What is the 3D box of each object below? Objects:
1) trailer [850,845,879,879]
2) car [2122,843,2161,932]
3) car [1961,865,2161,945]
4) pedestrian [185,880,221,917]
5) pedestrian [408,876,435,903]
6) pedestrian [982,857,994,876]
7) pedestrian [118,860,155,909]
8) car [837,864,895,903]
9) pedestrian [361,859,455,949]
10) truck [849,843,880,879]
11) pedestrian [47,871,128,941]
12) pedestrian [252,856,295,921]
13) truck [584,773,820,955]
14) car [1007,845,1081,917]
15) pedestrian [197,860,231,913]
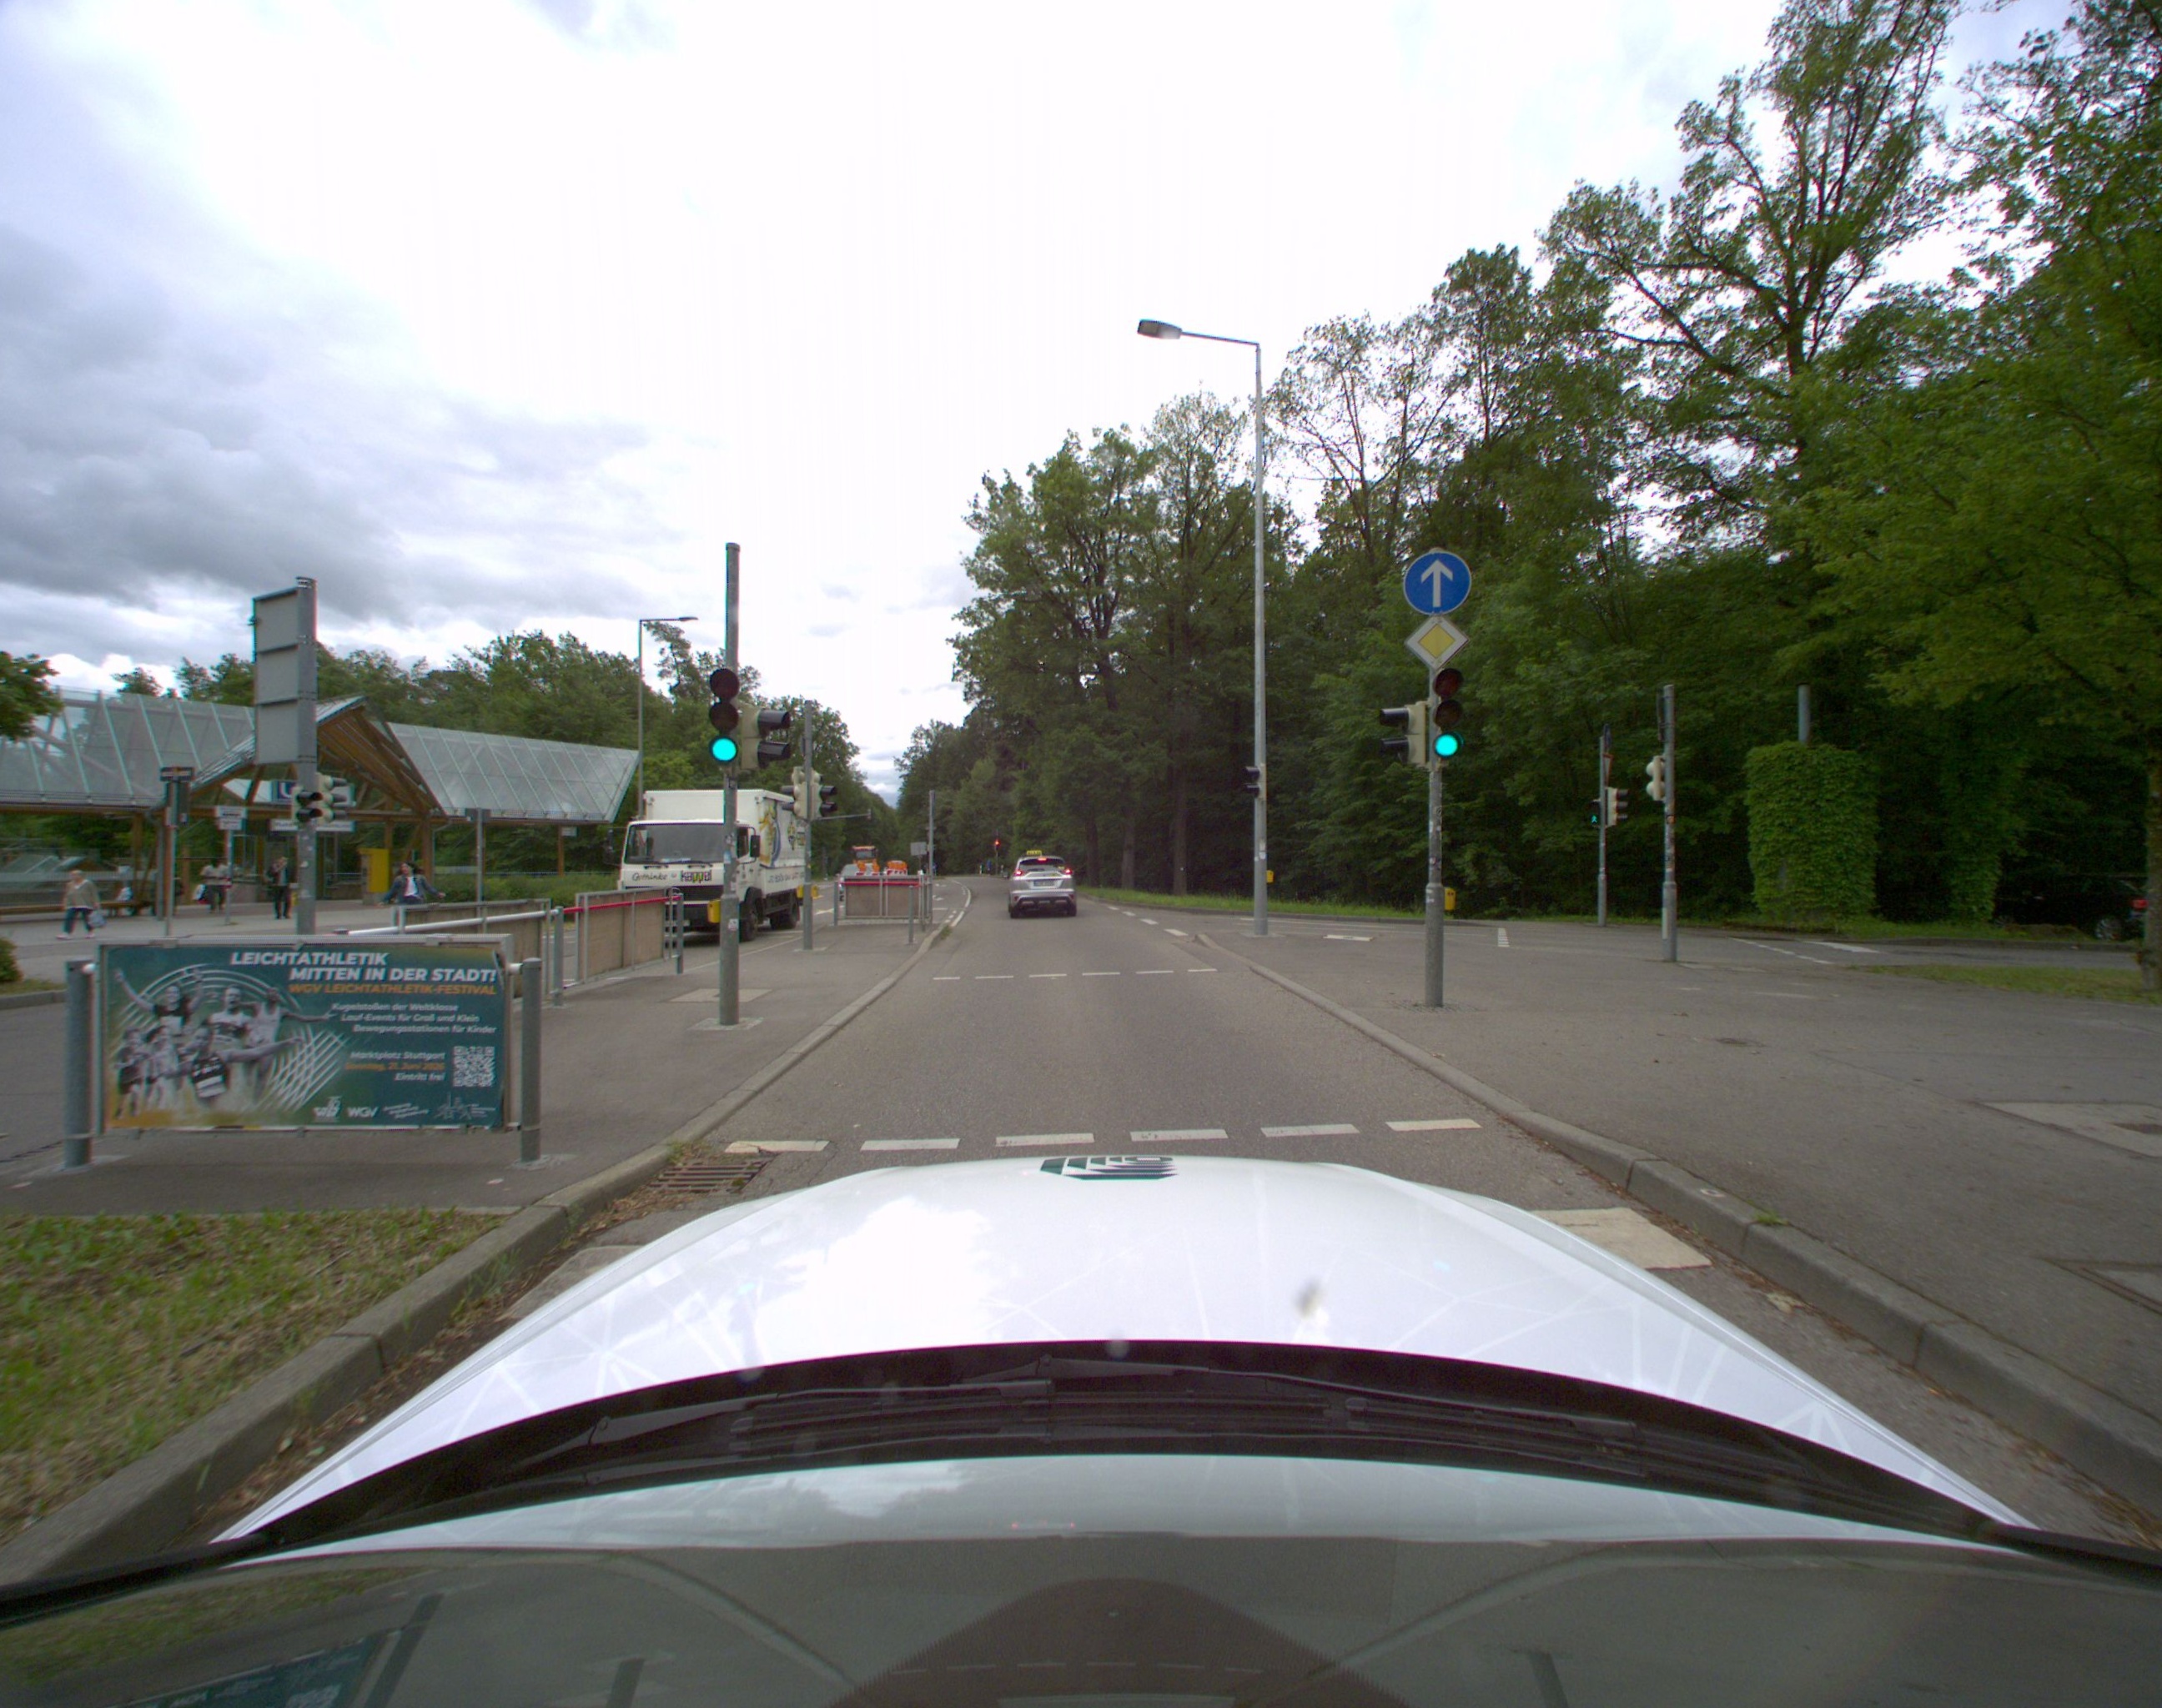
[{"bbox_3d":[-23.108,0.924,86.588,2.745,3.318,8.521,-2,-1,-16],"label":"trailer"},{"bbox_3d":[23.163,0.706,15.348,1.977,1.878,4.973,1,0,19],"label":"car"},{"bbox_3d":[20.573,0.957,16.529,1.803,1.420,3.862,1,0,12],"label":"car"},{"bbox_3d":[-31.350,1.594,29.082,0.387,1.269,0.771,1,0,29],"label":"pedestrian"},{"bbox_3d":[-24.953,1.328,30.821,0.544,0.984,0.567,1,0,8],"label":"pedestrian"},{"bbox_3d":[-8.345,1.105,72.876,1.046,1.649,1.066,-2,0,-8],"label":"pedestrian"},{"bbox_3d":[-30.333,0.961,26.158,0.460,1.554,0.610,1,0,16],"label":"pedestrian"},{"bbox_3d":[-9.304,1.255,35.505,1.806,1.509,4.297,-2,-1,-7],"label":"car"},{"bbox_3d":[-13.073,0.948,15.847,0.900,1.676,1.099,-1,-1,20],"label":"pedestrian"},{"bbox_3d":[-21.628,0.740,81.316,2.745,3.318,7.120,-2,-1,-16],"label":"truck"},{"bbox_3d":[-22.761,1.175,18.675,0.765,1.525,0.873,1,0,-10],"label":"pedestrian"},{"bbox_3d":[-23.179,0.957,23.401,0.770,1.809,0.983,1,-1,-40],"label":"pedestrian"},{"bbox_3d":[-7.904,0.204,17.983,2.624,3.238,6.196,-2,-1,-5],"label":"truck"},{"bbox_3d":[-0.964,0.704,22.891,1.841,1.780,3.999,-2,0,0],"label":"car"},{"bbox_3d":[-27.097,1.008,25.449,0.664,1.596,0.680,0,-1,41],"label":"pedestrian"}]
